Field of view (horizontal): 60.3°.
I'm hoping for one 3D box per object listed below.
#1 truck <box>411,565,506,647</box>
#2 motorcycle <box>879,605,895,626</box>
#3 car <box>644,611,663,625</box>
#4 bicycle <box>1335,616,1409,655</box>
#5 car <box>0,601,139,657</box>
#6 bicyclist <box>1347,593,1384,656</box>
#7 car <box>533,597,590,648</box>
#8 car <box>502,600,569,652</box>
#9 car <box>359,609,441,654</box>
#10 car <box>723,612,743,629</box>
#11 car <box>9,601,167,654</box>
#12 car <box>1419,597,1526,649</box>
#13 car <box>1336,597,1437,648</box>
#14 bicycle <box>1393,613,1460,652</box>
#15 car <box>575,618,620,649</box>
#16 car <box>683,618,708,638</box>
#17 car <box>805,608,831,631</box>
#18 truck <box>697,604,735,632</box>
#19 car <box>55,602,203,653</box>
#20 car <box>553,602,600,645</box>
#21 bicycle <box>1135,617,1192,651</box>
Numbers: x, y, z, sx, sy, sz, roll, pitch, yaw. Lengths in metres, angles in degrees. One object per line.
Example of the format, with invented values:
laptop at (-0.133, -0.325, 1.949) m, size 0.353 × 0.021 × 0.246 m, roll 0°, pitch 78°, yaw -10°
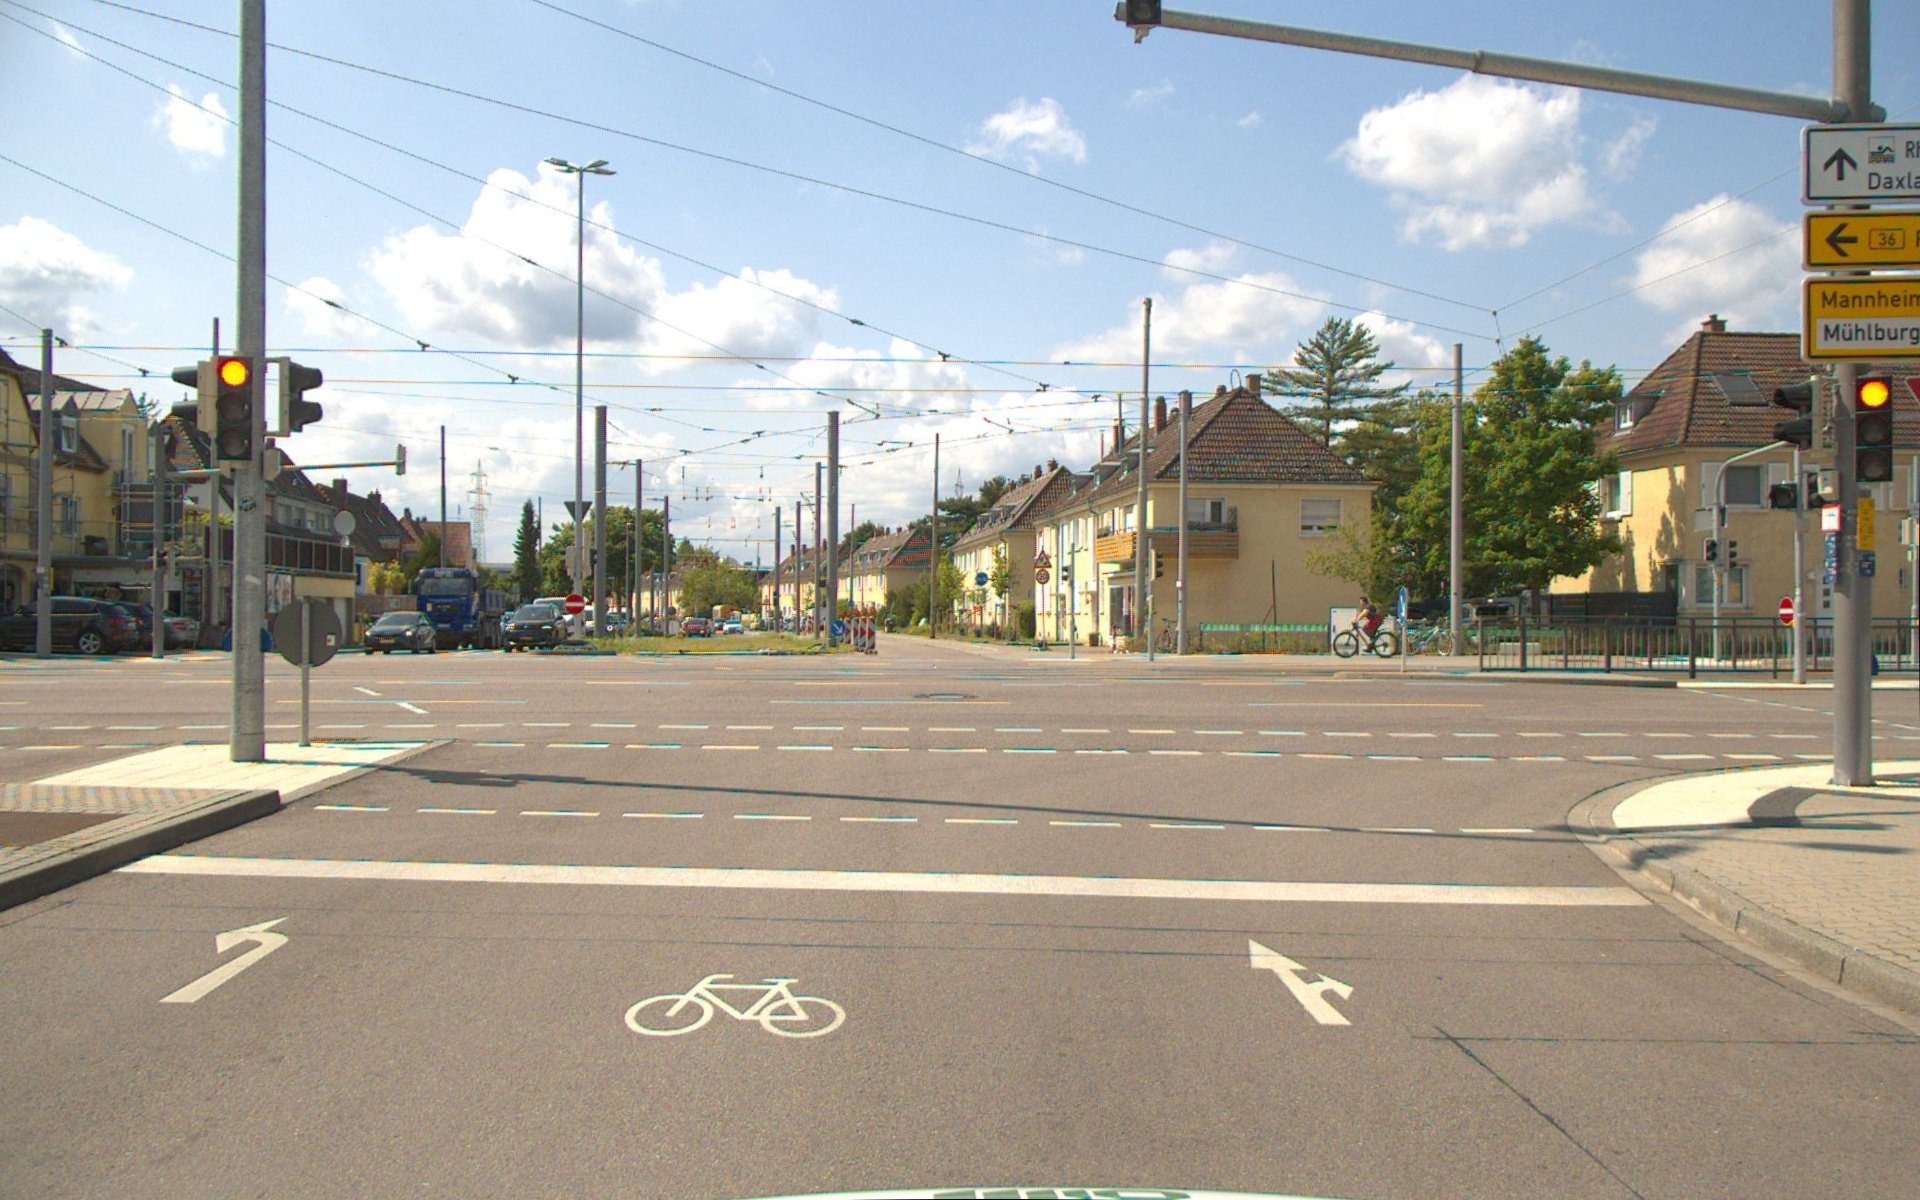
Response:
truck at (-20.927, 0.304, 69.344) m, size 2.717 × 3.244 × 7.567 m, roll 0°, pitch -1°, yaw -9°
motorcycle at (-5.810, 1.215, 131.935) m, size 1.046 × 1.664 × 2.079 m, roll 0°, pitch -1°, yaw -9°
car at (-44.186, 2.606, 238.600) m, size 1.966 × 1.944 × 3.973 m, roll 0°, pitch 0°, yaw -22°
bicycle at (11.897, 1.032, 47.790) m, size 1.984 × 1.121 × 0.715 m, roll 0°, pitch -1°, yaw 4°
car at (-26.818, 0.857, 49.192) m, size 4.058 × 1.519 × 1.177 m, roll 2°, pitch -1°, yaw -9°
bicyclist at (11.762, 0.722, 48.027) m, size 0.937 × 1.806 × 0.720 m, roll 0°, pitch -1°, yaw 5°
car at (-15.793, 0.898, 65.712) m, size 1.780 × 1.955 × 4.738 m, roll 0°, pitch -1°, yaw -9°
car at (-15.173, 0.899, 59.306) m, size 1.752 × 1.751 × 4.434 m, roll 0°, pitch 0°, yaw -7°
car at (-19.494, 1.088, 57.759) m, size 1.792 × 1.513 × 4.328 m, roll 0°, pitch -1°, yaw -6°
car at (-22.119, 2.011, 161.285) m, size 1.808 × 1.589 × 4.180 m, roll 0°, pitch -1°, yaw -7°
car at (-27.299, 0.857, 51.861) m, size 4.058 × 1.519 × 1.504 m, roll 2°, pitch -1°, yaw -9°
car at (17.056, 0.793, 55.274) m, size 1.789 × 1.649 × 3.990 m, roll 0°, pitch -2°, yaw -10°
car at (14.294, 0.793, 55.595) m, size 1.789 × 1.649 × 3.990 m, roll 0°, pitch -2°, yaw -10°
bicycle at (13.733, 0.944, 48.660) m, size 1.773 × 1.124 × 0.699 m, roll 0°, pitch -1°, yaw 39°
car at (-17.628, 1.609, 80.493) m, size 1.879 × 1.444 × 3.992 m, roll 0°, pitch -1°, yaw -9°
car at (-21.432, 2.260, 134.135) m, size 1.808 × 1.520 × 4.848 m, roll 0°, pitch -1°, yaw -7°
car at (-13.457, 1.877, 157.034) m, size 2.028 × 2.187 × 4.866 m, roll 0°, pitch -1°, yaw -10°
truck at (-32.037, 2.348, 216.999) m, size 2.606 × 3.555 × 9.366 m, roll 0°, pitch -1°, yaw -24°
car at (-27.372, 0.903, 54.571) m, size 4.058 × 1.519 × 1.432 m, roll 2°, pitch -1°, yaw -9°
car at (-17.021, 1.036, 73.563) m, size 1.700 × 1.813 × 4.396 m, roll 0°, pitch -1°, yaw -9°
bicycle at (6.848, 1.133, 55.705) m, size 0.588 × 1.116 × 2.249 m, roll 1°, pitch -1°, yaw -34°
